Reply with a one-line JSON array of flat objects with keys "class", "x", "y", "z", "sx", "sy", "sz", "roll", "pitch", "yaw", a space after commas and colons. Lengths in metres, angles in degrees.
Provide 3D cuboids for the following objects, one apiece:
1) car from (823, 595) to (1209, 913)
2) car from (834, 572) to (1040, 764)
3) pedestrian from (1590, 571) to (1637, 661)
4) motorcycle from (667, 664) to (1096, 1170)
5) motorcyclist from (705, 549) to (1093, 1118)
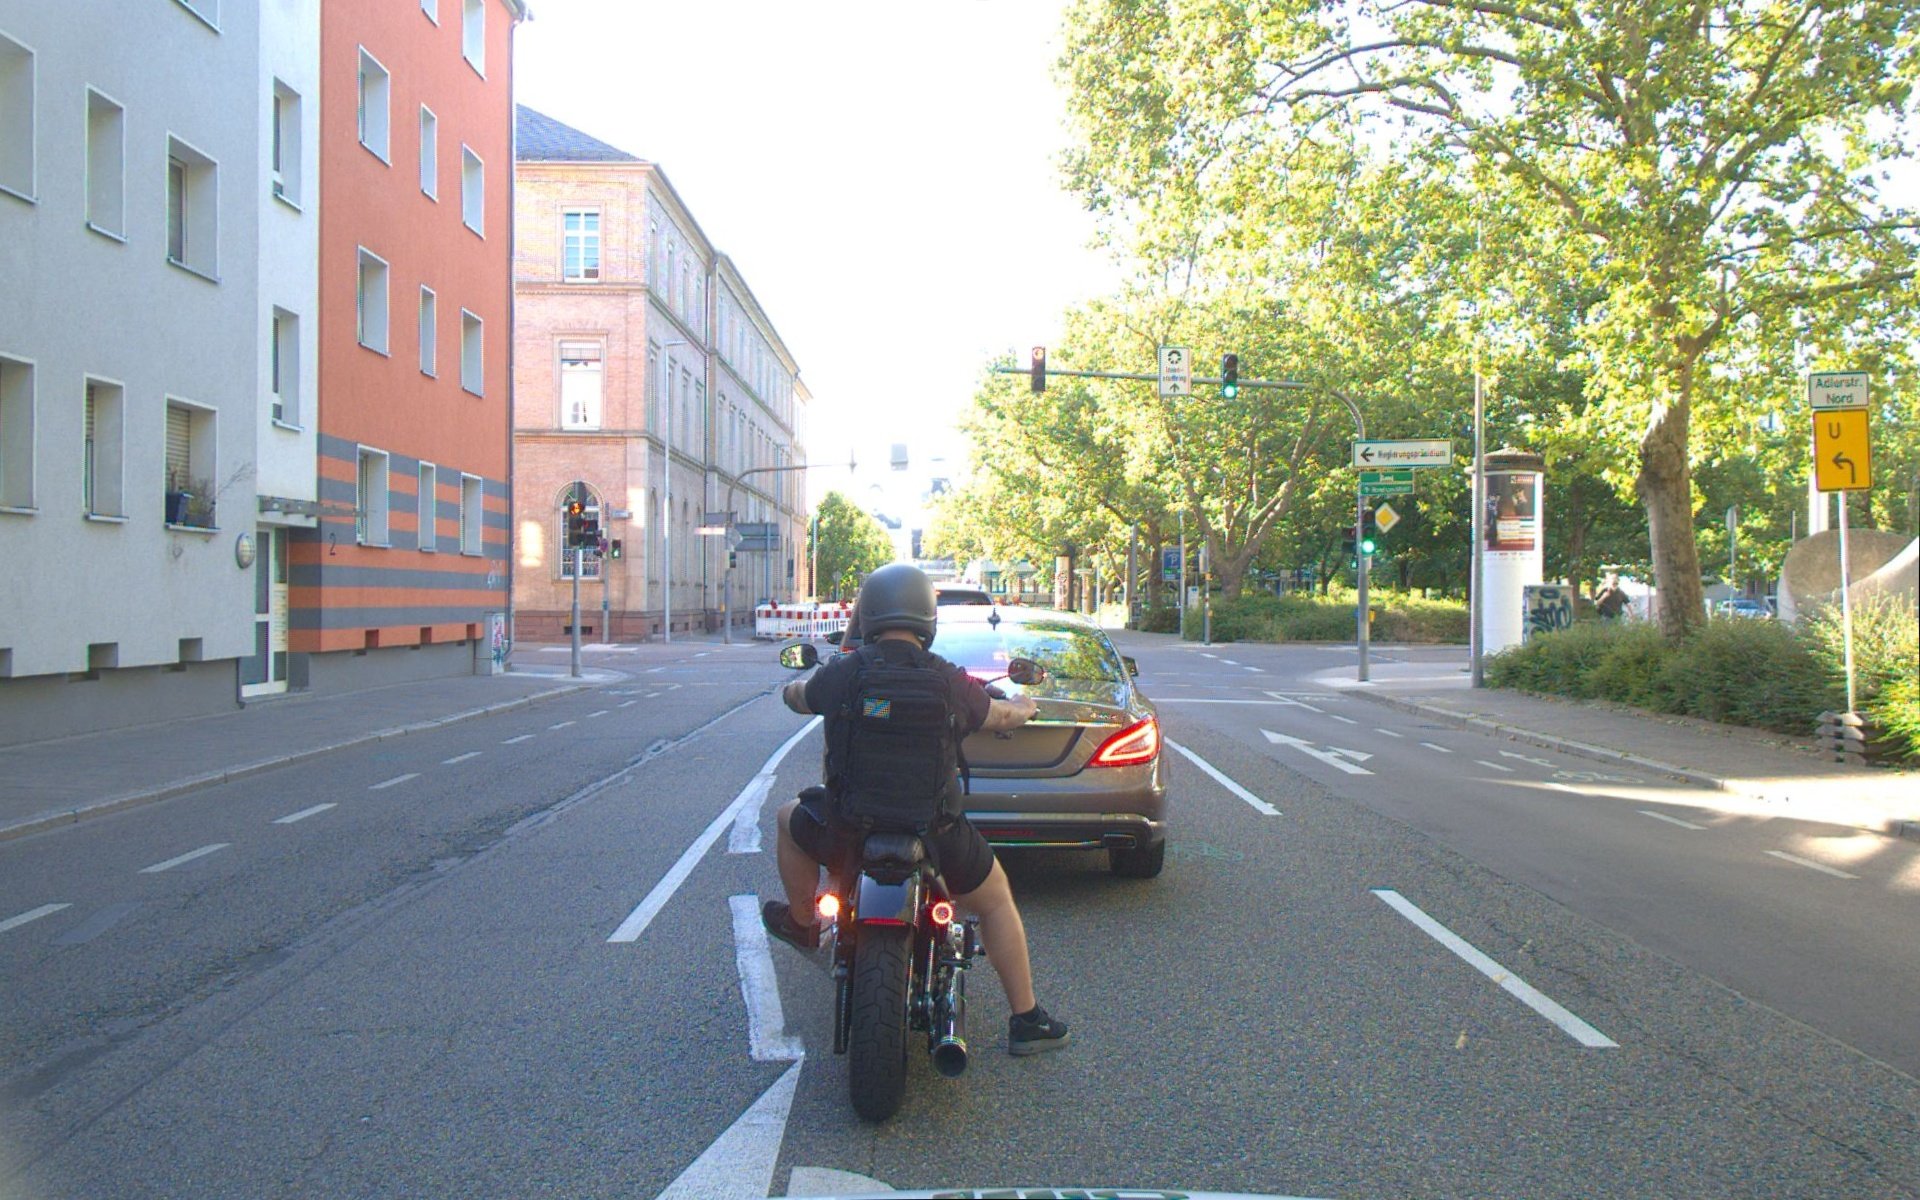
[{"class": "car", "x": 0.239, "y": 0.732, "z": 9.654, "sx": 1.785, "sy": 1.462, "sz": 3.805, "roll": 1, "pitch": 0, "yaw": -1}, {"class": "car", "x": -0.235, "y": 0.624, "z": 16.926, "sx": 1.825, "sy": 1.707, "sz": 3.999, "roll": 1, "pitch": 0, "yaw": -1}, {"class": "pedestrian", "x": 13.394, "y": 0.324, "z": 33.931, "sx": 0.720, "sy": 1.809, "sz": 0.730, "roll": 1, "pitch": -1, "yaw": 7}, {"class": "motorcycle", "x": -0.124, "y": 0.873, "z": 5.482, "sx": 1.094, "sy": 1.228, "sz": 2.213, "roll": 1, "pitch": 0, "yaw": 5}, {"class": "motorcyclist", "x": -0.136, "y": 0.662, "z": 5.261, "sx": 1.076, "sy": 1.593, "sz": 1.072, "roll": 1, "pitch": 0, "yaw": 5}]
